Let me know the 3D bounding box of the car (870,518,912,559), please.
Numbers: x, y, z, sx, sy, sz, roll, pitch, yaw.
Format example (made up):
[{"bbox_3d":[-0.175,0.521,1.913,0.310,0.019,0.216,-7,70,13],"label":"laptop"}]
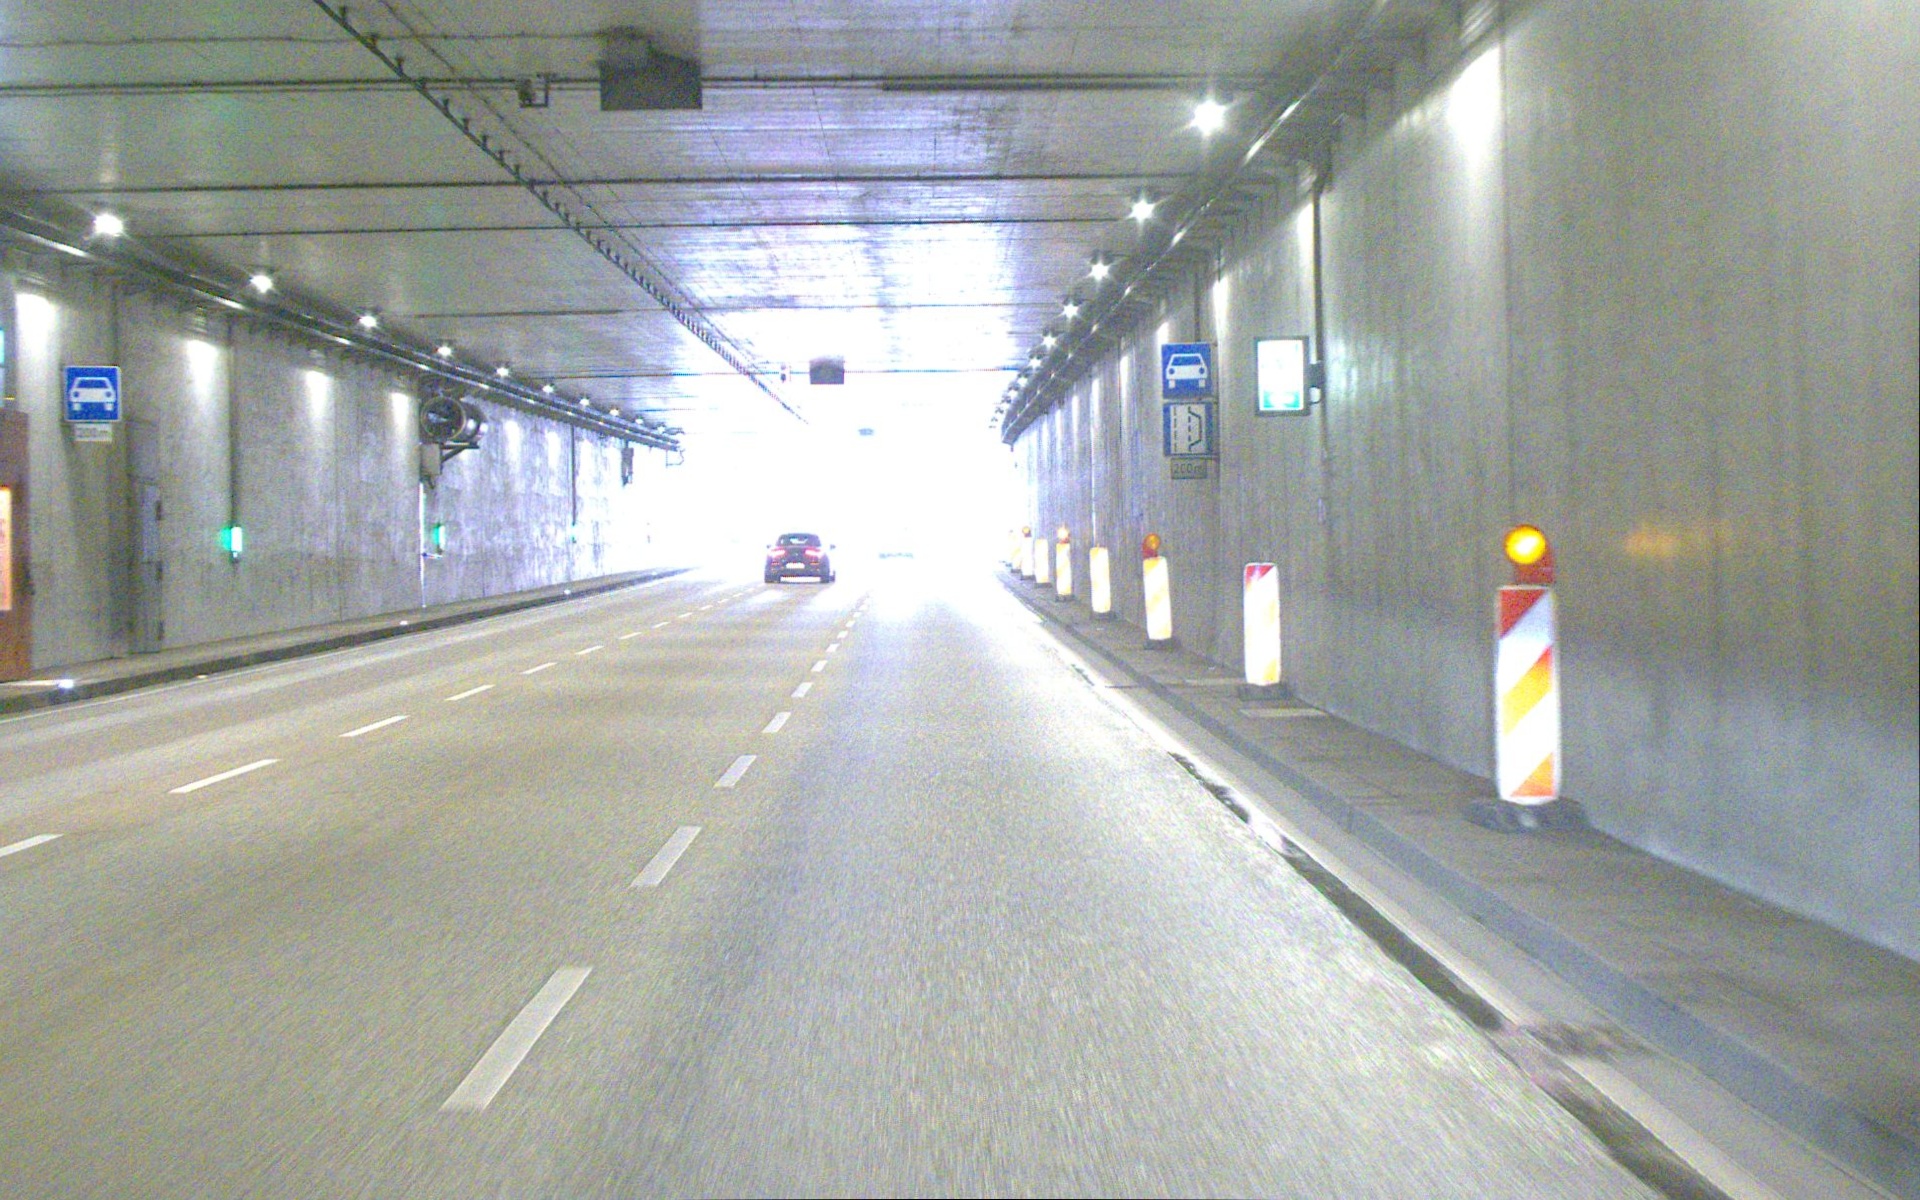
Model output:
[{"bbox_3d":[-3.386,-3.018,169.108,1.993,2.007,4.000,0,0,0],"label":"car"}]

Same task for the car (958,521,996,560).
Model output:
[{"bbox_3d":[0.887,-3.157,183.072,1.993,2.007,4.000,0,0,0],"label":"car"}]

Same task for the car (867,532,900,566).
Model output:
[{"bbox_3d":[-4.637,-3.072,209.076,1.993,2.007,4.000,0,0,-1],"label":"car"}]

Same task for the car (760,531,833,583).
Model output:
[{"bbox_3d":[-4.713,-1.248,98.767,1.993,1.443,4.315,0,1,-4],"label":"car"}]
